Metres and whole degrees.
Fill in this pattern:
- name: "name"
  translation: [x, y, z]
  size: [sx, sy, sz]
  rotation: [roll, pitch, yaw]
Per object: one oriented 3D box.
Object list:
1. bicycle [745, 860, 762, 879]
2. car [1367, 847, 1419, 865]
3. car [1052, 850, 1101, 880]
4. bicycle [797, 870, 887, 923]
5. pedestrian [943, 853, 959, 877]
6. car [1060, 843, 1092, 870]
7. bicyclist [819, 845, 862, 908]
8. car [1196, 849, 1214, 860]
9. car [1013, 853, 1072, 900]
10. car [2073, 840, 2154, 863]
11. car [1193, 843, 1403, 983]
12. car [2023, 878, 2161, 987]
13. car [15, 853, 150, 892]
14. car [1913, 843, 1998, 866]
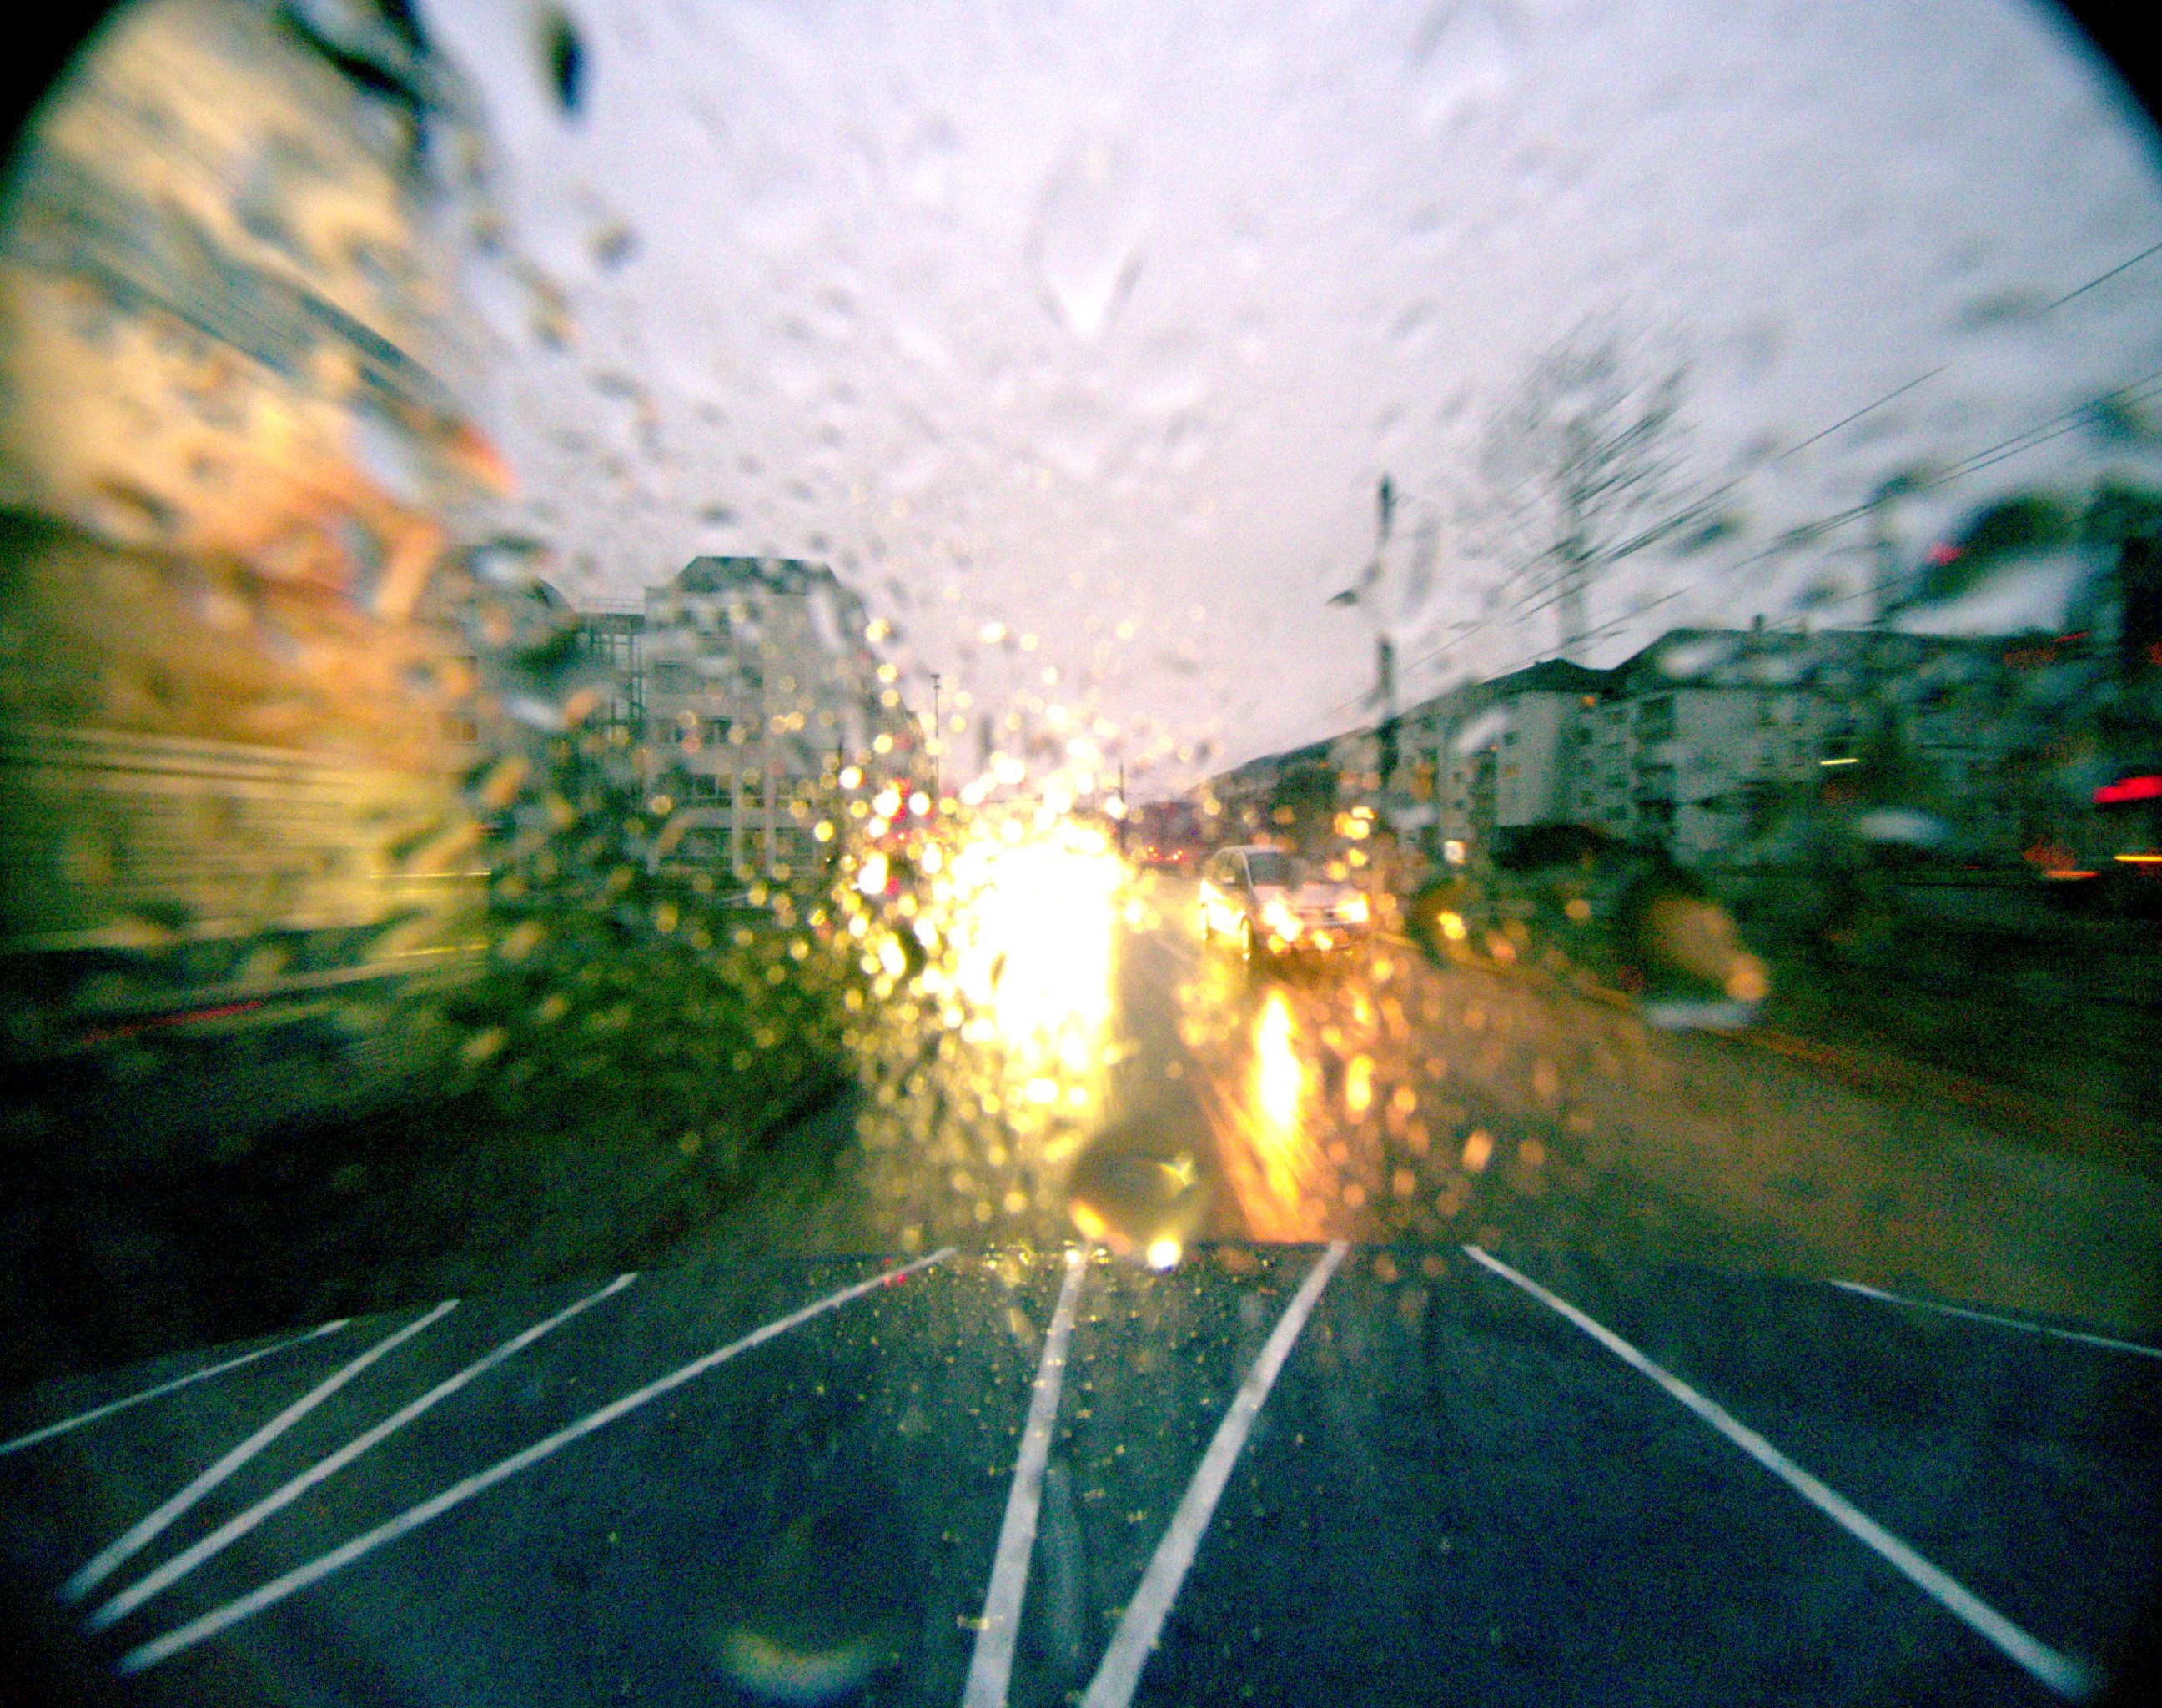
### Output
- name: "bicycle"
  translation: [-20.217, 0.938, 46.891]
  size: [0.472, 1.098, 1.873]
  rotation: [0, 1, -9]
- name: "car"
  translation: [26.635, 0.169, 64.834]
  size: [3.811, 1.359, 1.696]
  rotation: [-2, 2, -13]
- name: "car"
  translation: [-0.318, 0.555, 40.926]
  size: [1.977, 1.492, 4.088]
  rotation: [-2, 0, -9]
- name: "bicycle"
  translation: [-5.659, 0.996, 18.125]
  size: [1.970, 1.208, 1.039]
  rotation: [0, -1, -12]
- name: "pedestrian"
  translation: [-9.833, 0.860, 57.556]
  size: [0.796, 1.740, 0.863]
  rotation: [4, 0, 19]
- name: "car"
  translation: [-0.453, 0.191, 60.624]
  size: [1.958, 2.022, 4.879]
  rotation: [-2, 1, -8]
- name: "bicyclist"
  translation: [-5.718, 0.513, 18.114]
  size: [0.753, 1.422, 0.926]
  rotation: [-2, 2, -6]
- name: "car"
  translation: [19.013, 0.038, 116.563]
  size: [1.730, 1.636, 4.147]
  rotation: [-2, 2, -6]
- name: "car"
  translation: [-1.367, 0.714, 25.582]
  size: [1.758, 1.418, 3.802]
  rotation: [-2, 0, -6]
- name: "car"
  translation: [66.204, -0.184, 48.741]
  size: [3.437, 1.353, 1.488]
  rotation: [-2, 2, -5]
- name: "car"
  translation: [3.045, 0.722, 11.605]
  size: [2.021, 1.668, 3.998]
  rotation: [-2, 2, 0]
- name: "car"
  translation: [18.411, 1.321, 12.033]
  size: [1.810, 1.597, 3.995]
  rotation: [-2, 2, -10]
- name: "car"
  translation: [-46.546, 0.847, 35.500]
  size: [3.279, 1.627, 1.998]
  rotation: [-2, 2, -7]
- name: "car"
  translation: [62.264, 0.024, 54.180]
  size: [1.680, 1.513, 3.612]
  rotation: [-2, 2, -9]
